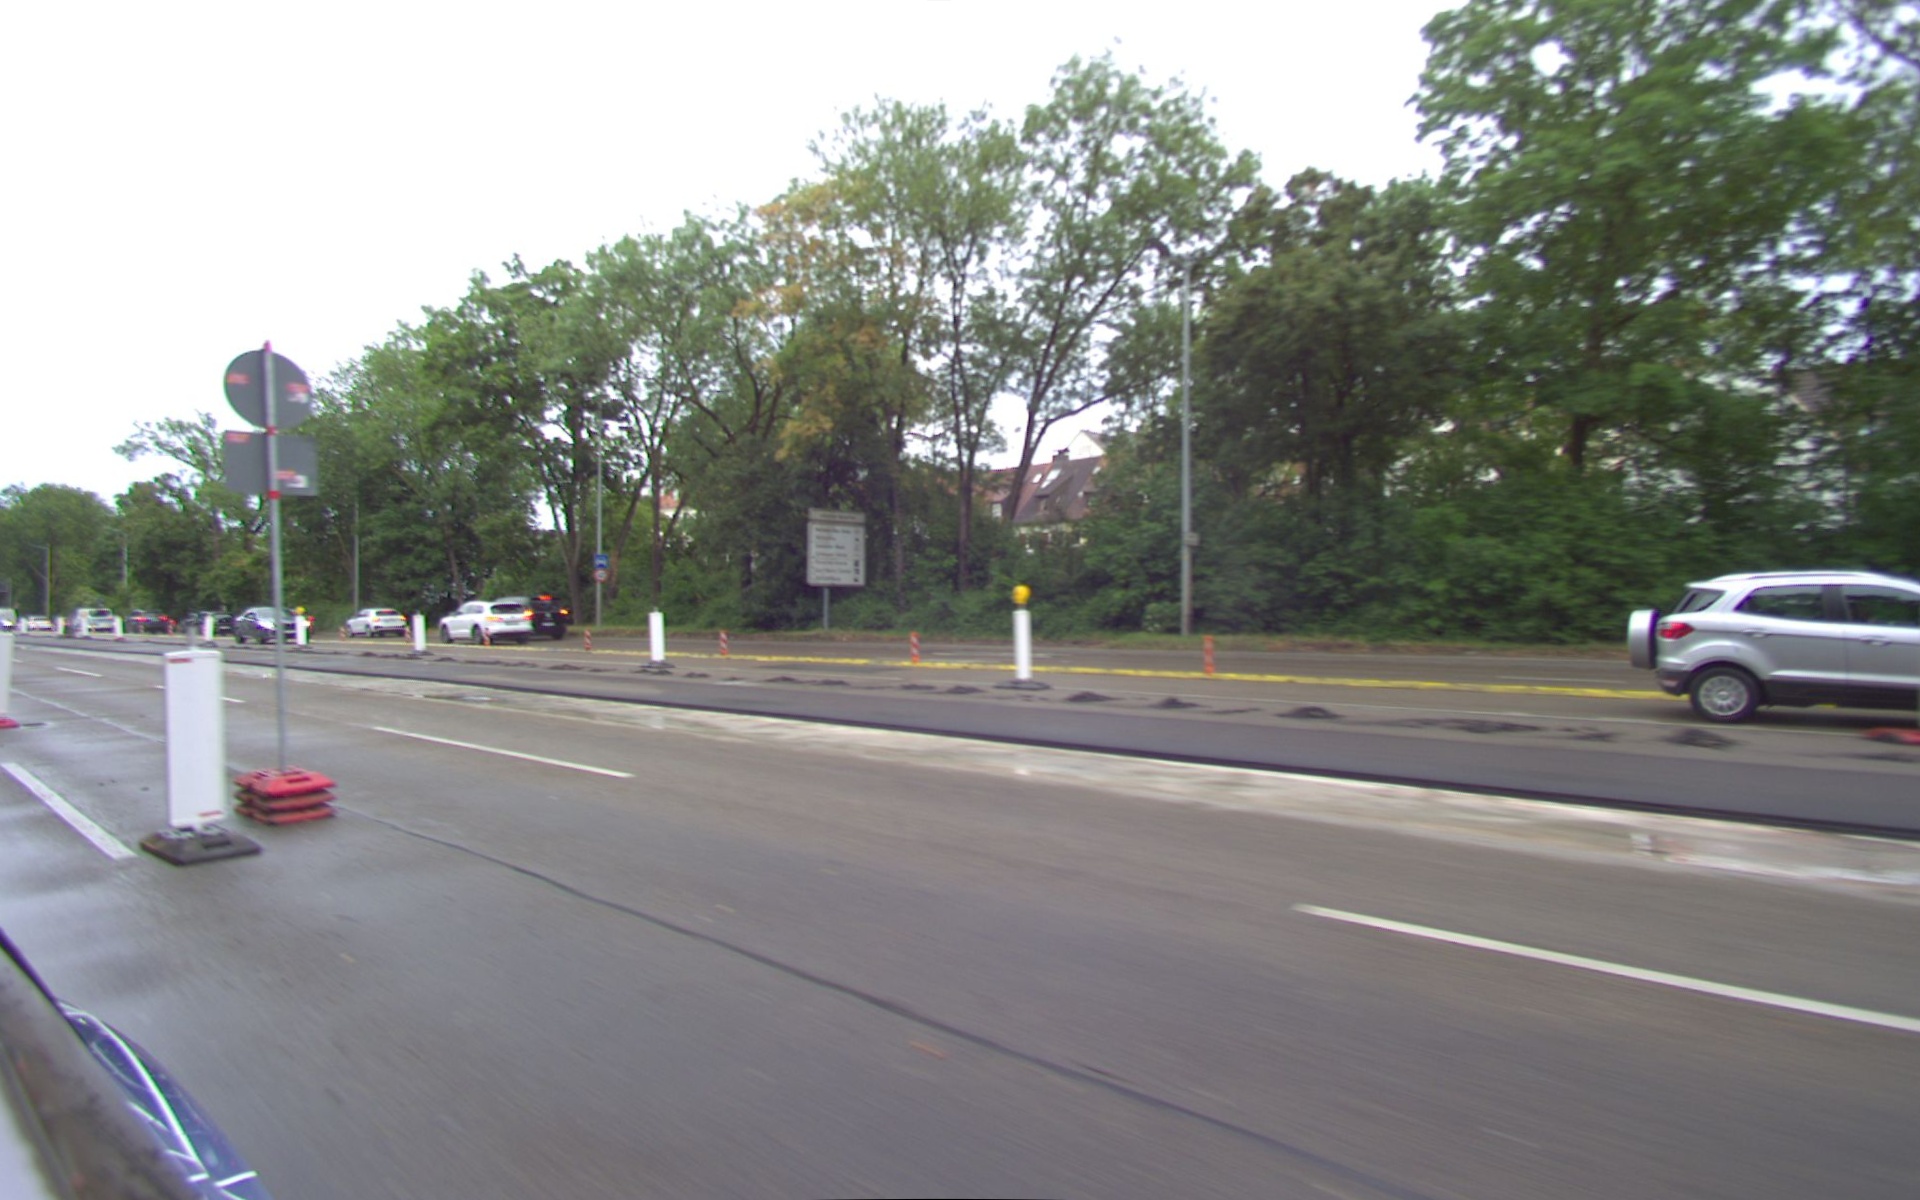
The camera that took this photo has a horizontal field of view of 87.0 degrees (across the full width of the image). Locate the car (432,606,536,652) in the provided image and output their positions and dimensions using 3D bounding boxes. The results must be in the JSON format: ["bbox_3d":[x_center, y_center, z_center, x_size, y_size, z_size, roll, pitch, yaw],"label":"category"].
[{"bbox_3d":[-18.856,1.123,39.968,4.890,1.674,1.871,-1,0,41],"label":"car"}]

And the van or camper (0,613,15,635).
[{"bbox_3d":[-120.159,3.044,126.540,7.722,2.574,1.974,-1,0,40],"label":"van or camper"}]

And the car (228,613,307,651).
[{"bbox_3d":[-32.238,1.470,47.053,4.811,1.641,1.972,-1,0,42],"label":"car"}]

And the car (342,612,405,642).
[{"bbox_3d":[-31.392,1.446,54.130,4.146,1.508,1.662,-1,-3,41],"label":"car"}]

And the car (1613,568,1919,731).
[{"bbox_3d":[9.629,0.464,10.649,4.364,1.576,1.868,-2,0,43],"label":"car"}]

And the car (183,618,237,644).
[{"bbox_3d":[-46.756,1.927,63.057,4.193,1.499,1.758,-1,0,40],"label":"car"}]

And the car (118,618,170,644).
[{"bbox_3d":[-59.083,2.215,73.245,5.009,1.738,2.001,-1,0,41],"label":"car"}]

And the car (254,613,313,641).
[{"bbox_3d":[-36.707,1.464,54.875,4.010,1.411,1.662,-1,0,41],"label":"car"}]

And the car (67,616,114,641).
[{"bbox_3d":[-71.768,2.324,83.528,4.896,1.987,1.975,-1,0,38],"label":"car"}]

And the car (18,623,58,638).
[{"bbox_3d":[-87.191,2.872,95.664,4.385,1.426,1.975,-1,-1,37],"label":"car"}]

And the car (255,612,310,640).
[{"bbox_3d":[-42.411,1.626,63.344,4.415,1.639,1.685,-1,0,40],"label":"car"}]
